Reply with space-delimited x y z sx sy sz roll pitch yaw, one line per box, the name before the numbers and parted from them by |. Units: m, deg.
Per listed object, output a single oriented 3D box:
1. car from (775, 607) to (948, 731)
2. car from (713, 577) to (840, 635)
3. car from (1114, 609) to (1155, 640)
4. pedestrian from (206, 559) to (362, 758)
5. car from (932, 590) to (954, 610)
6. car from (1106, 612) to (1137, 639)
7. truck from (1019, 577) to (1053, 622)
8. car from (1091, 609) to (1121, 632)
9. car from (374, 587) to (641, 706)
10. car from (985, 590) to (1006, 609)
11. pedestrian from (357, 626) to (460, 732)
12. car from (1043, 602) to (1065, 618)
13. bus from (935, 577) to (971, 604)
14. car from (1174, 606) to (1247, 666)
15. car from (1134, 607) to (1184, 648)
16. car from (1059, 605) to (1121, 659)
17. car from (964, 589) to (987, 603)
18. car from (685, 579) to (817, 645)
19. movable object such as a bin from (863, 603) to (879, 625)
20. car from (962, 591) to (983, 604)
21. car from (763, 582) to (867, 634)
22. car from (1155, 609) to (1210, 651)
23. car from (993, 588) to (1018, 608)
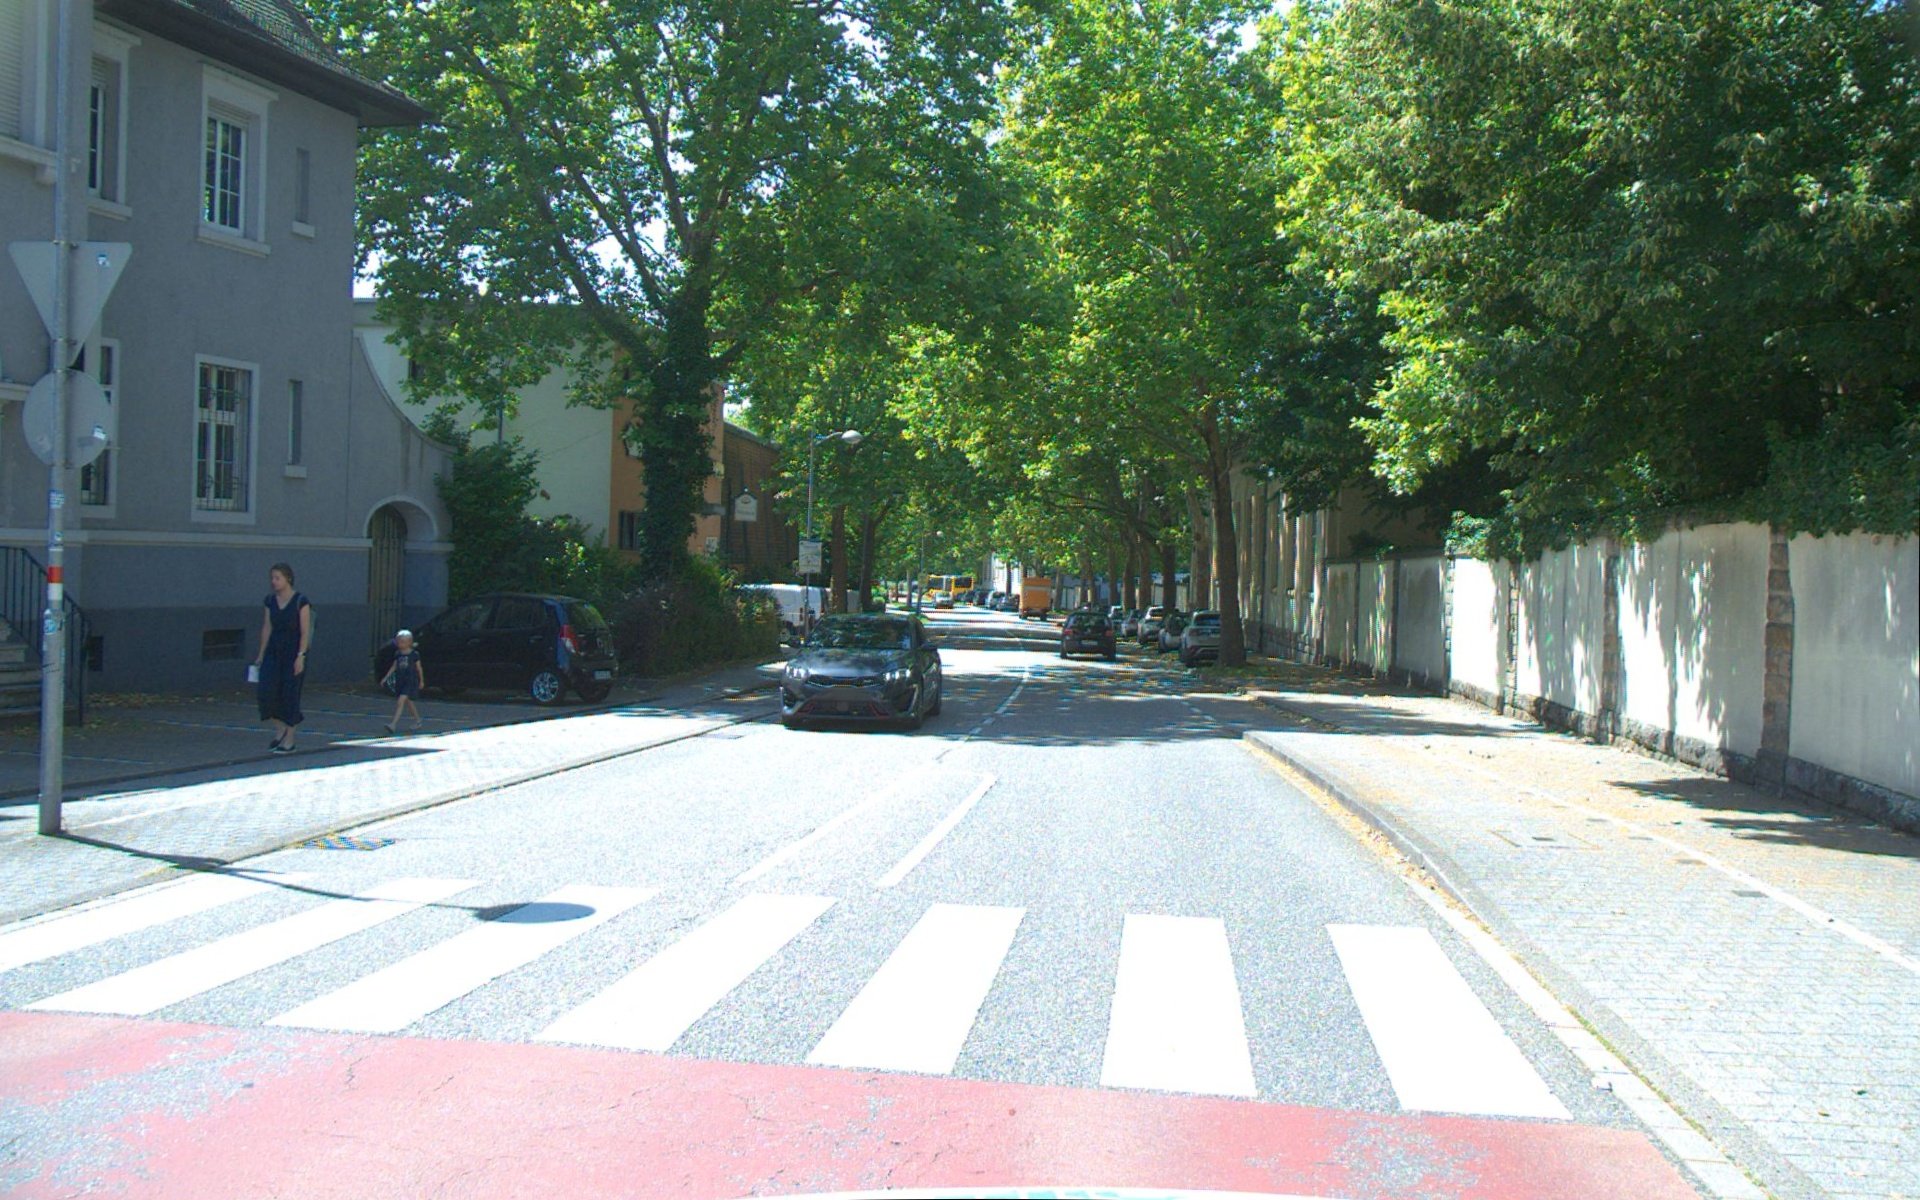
car | -1.205 0.849 22.102 1.731 1.451 4.394 1 0 4
car | -6.658 0.222 60.354 4.333 1.835 1.903 4 0 0
car | 8.626 1.204 82.014 1.730 1.458 3.876 1 0 1
pedestrian | -6.340 0.533 15.574 0.853 1.773 1.113 1 -1 9
car | -1.655 0.010 157.596 1.953 1.695 3.998 2 -1 -2
car | 9.404 1.491 96.507 1.544 1.491 3.876 1 0 1
truck | 5.786 -0.003 126.530 2.322 3.189 5.768 2 -1 0
car | 9.628 1.358 109.270 1.730 1.491 3.876 1 0 1
car | -6.592 0.650 24.229 3.309 1.573 1.725 2 0 13
car | 3.513 -0.026 163.303 1.841 1.715 3.998 2 -1 -2
pedestrian | -6.244 0.878 18.757 0.738 1.141 0.898 1 -1 9
car | 8.798 0.918 154.980 1.731 1.398 3.728 2 0 -2
bus | -0.938 -1.104 203.156 2.615 3.206 11.172 1 0 -9
car | 7.223 1.009 48.045 1.704 1.584 4.782 0 0 4
car | 8.531 1.158 71.258 1.770 1.718 4.753 0 0 3
car | 3.960 0.957 50.909 1.675 1.472 4.059 2 1 2
car | 1.629 -0.399 175.306 1.734 1.398 3.721 1 0 -10
car | -6.699 0.385 53.276 3.906 1.824 1.868 4 0 0
movable object such as a bin | -4.650 0.719 86.554 0.719 1.097 0.701 2 0 2
car | 1.387 -0.243 184.123 1.734 1.398 3.721 1 0 -9
car | -5.970 0.330 68.360 4.044 1.835 1.903 4 0 0
car | 7.997 1.053 59.689 1.587 1.465 4.434 0 0 3
car | 4.279 -0.171 156.089 1.842 1.715 3.996 2 -1 -5
